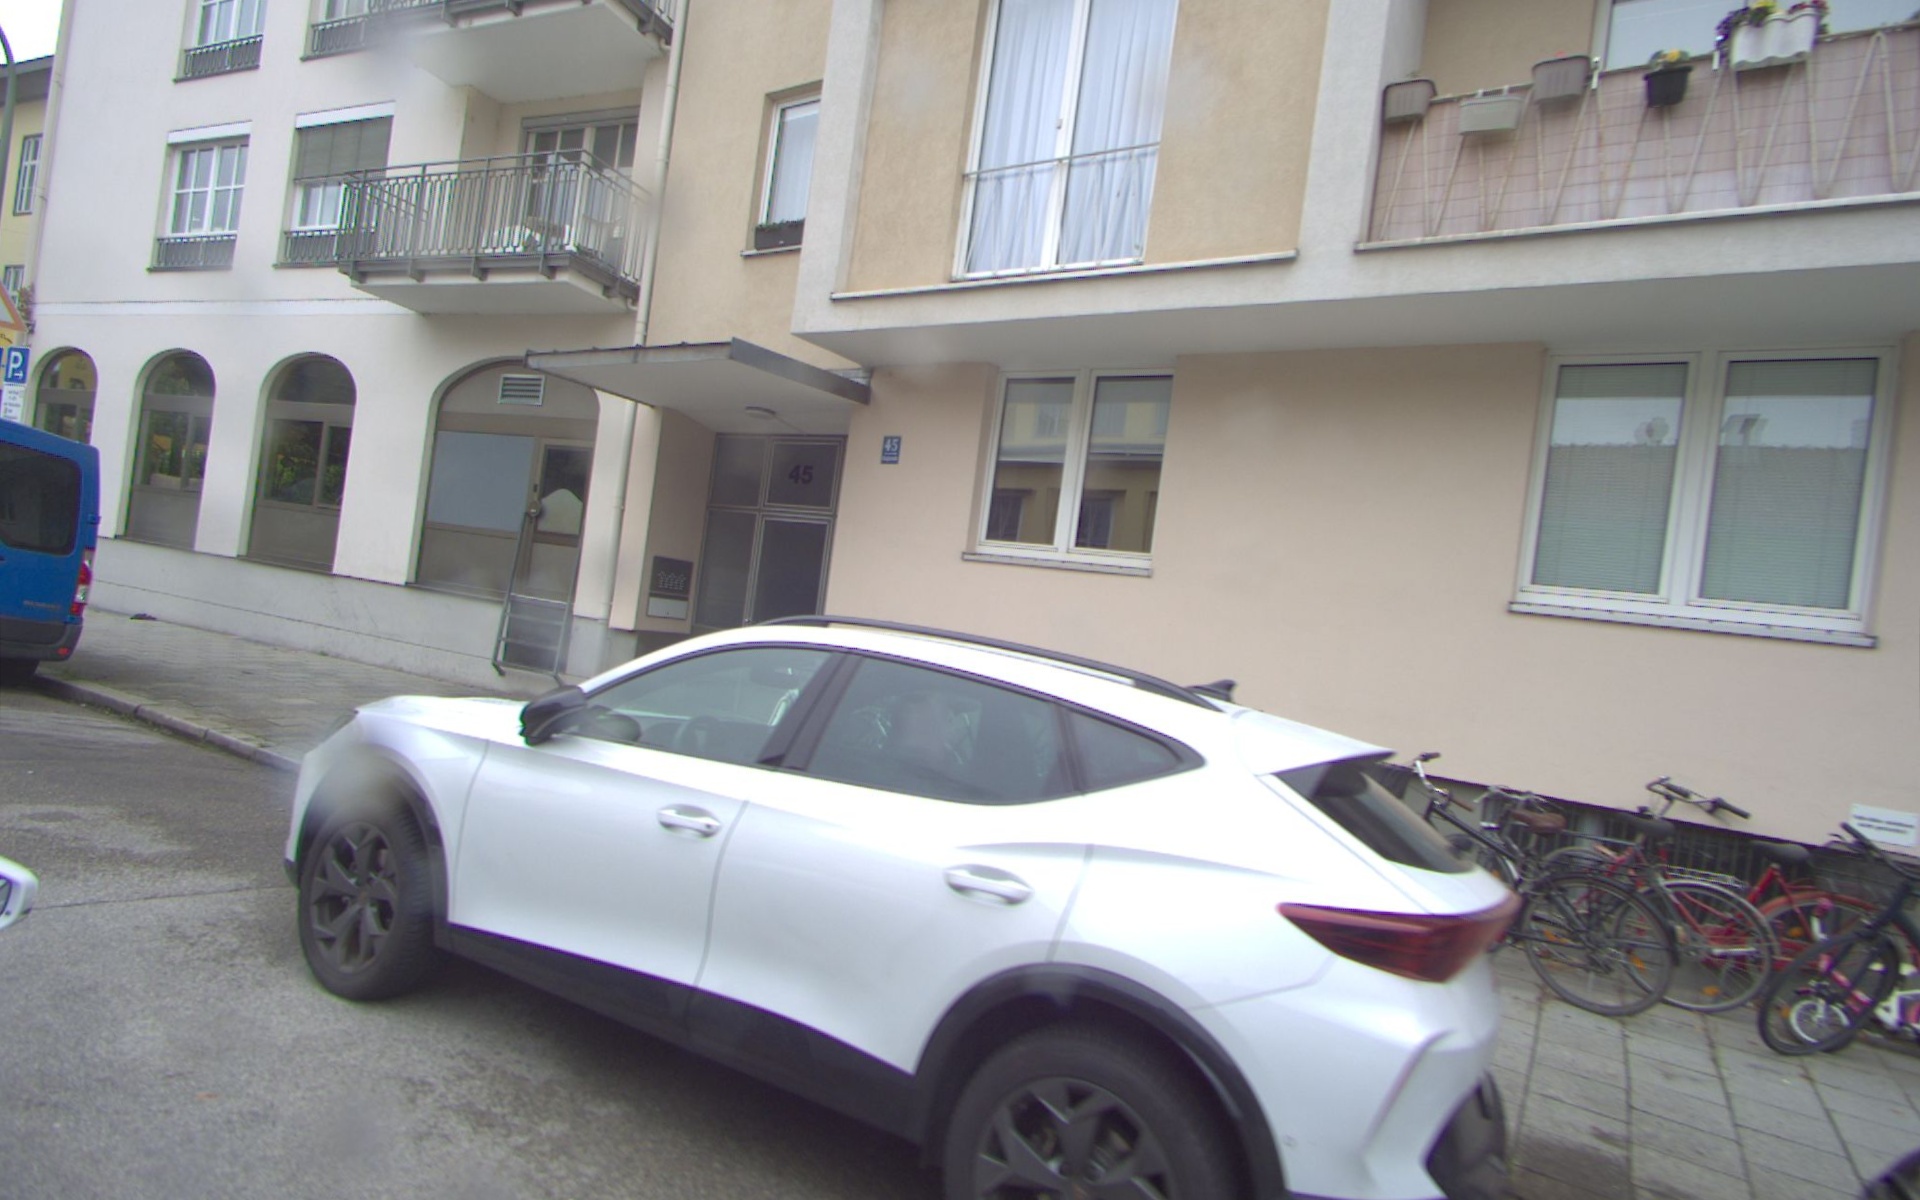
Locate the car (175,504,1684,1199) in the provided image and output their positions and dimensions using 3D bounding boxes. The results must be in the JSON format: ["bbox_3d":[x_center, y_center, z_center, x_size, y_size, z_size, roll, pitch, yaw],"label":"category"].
[{"bbox_3d":[-0.465,0.770,3.570,4.567,1.549,1.792,7,-4,28],"label":"car"}]

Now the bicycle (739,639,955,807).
[{"bbox_3d":[-1.003,1.021,8.677,1.823,1.124,0.456,7,-1,31],"label":"bicycle"}]

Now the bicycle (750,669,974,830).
[{"bbox_3d":[-0.796,1.130,7.902,1.706,0.934,0.456,7,-1,31],"label":"bicycle"}]

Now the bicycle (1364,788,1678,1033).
[{"bbox_3d":[3.025,1.634,5.506,1.369,0.915,0.378,7,-1,34],"label":"bicycle"}]

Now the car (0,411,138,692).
[{"bbox_3d":[-10.344,-0.706,9.299,5.153,2.255,2.089,6,-5,27],"label":"car"}]

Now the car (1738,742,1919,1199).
[{"bbox_3d":[3.836,1.320,0.618,5.080,1.538,1.885,7,-4,34],"label":"car"}]

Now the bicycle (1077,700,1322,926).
[{"bbox_3d":[1.514,1.314,6.478,1.369,1.132,0.378,7,-1,34],"label":"bicycle"}]
